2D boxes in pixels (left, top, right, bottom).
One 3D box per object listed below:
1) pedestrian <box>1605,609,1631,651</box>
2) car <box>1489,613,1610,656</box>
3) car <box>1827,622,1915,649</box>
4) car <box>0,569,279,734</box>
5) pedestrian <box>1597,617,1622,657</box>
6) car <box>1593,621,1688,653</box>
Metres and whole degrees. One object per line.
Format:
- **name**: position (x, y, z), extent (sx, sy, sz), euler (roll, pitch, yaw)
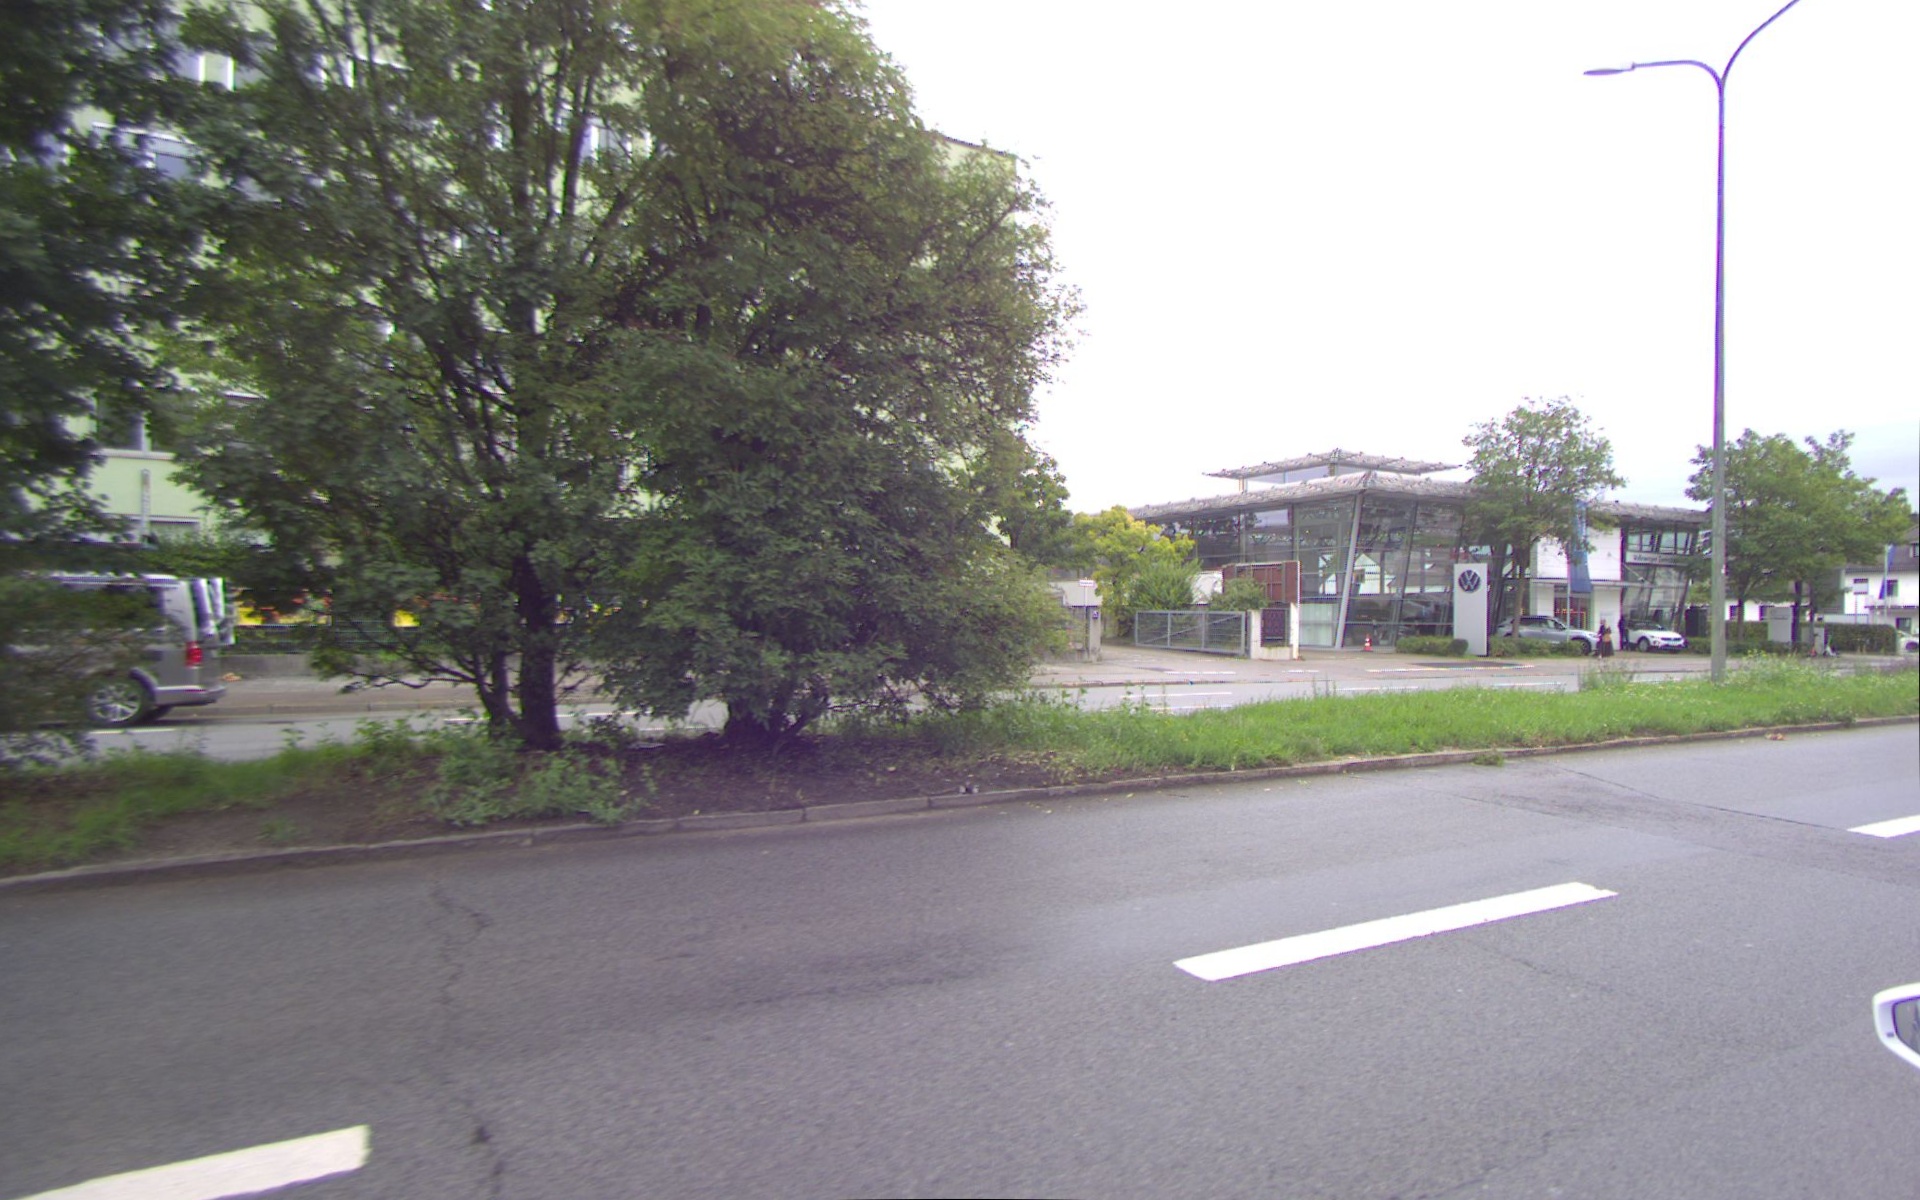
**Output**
- **pedestrian**: position (32.549, 1.501, 49.670), extent (0.869, 2.040, 0.711), euler (1, -2, -29)
- **car**: position (26.906, 1.600, 45.936), extent (4.576, 1.866, 1.793), euler (-2, -3, 39)
- **car**: position (60.528, 2.356, 66.789), extent (1.834, 1.731, 4.108), euler (1, -3, -40)
- **car**: position (-11.667, 0.657, 13.215), extent (4.273, 1.986, 1.985), euler (1, -2, -30)
- **pedestrian**: position (26.951, 1.548, 41.677), extent (0.614, 1.631, 0.634), euler (1, -2, -29)
- **car**: position (34.194, 1.859, 50.633), extent (1.767, 1.529, 3.996), euler (0, -2, -7)
